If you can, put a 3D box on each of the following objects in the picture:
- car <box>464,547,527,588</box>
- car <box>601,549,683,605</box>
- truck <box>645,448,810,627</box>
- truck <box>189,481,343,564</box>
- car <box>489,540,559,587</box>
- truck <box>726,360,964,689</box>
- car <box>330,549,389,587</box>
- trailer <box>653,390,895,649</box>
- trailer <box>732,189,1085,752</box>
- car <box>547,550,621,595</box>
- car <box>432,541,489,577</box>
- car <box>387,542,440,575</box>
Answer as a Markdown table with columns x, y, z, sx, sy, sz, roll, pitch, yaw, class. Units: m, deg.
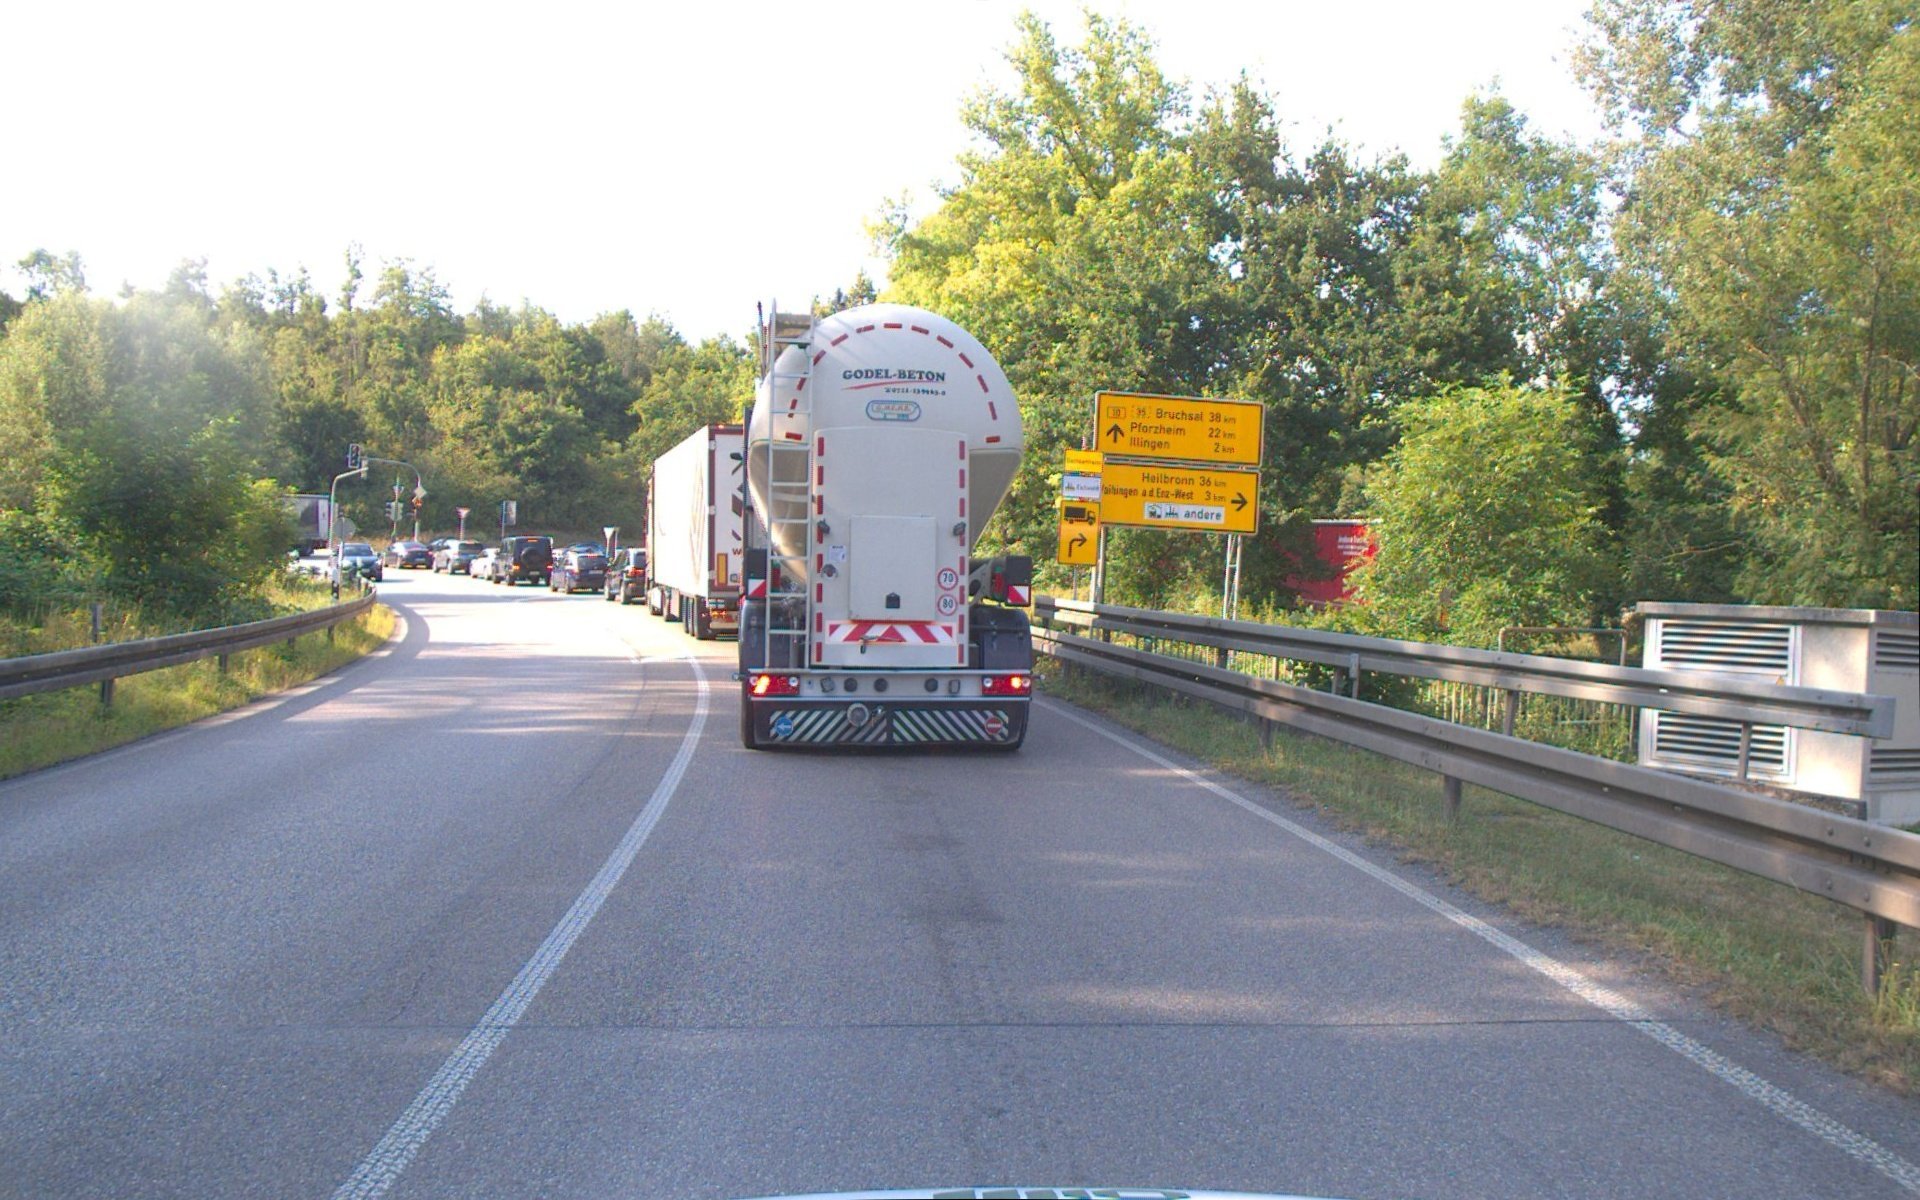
| x | y | z | sx | sy | sz | roll | pitch | yaw | class |
| --- | --- | --- | --- | --- | --- | --- | --- | --- | --- |
| -21.365 | -1.511 | 75.983 | 1.848 | 1.712 | 3.960 | 2 | 1 | -30 | car |
| -10.085 | -0.740 | 52.261 | 1.841 | 1.656 | 3.975 | 2 | 1 | -21 | car |
| -6.137 | -1.527 | 42.759 | 3.393 | 4.157 | 6.465 | 2 | 1 | -15 | truck |
| -43.360 | -4.737 | 103.800 | 2.949 | 4.664 | 10.247 | 3 | 1 | 16 | truck |
| -18.314 | -1.554 | 69.316 | 1.935 | 1.883 | 3.962 | -1 | 2 | -29 | car |
| -1.849 | -0.988 | 23.875 | 2.773 | 4.105 | 5.880 | 1 | 1 | -10 | truck |
| -26.027 | -1.395 | 71.617 | 1.846 | 1.592 | 3.964 | -1 | 2 | -28 | car |
| -4.529 | -1.555 | 36.470 | 3.486 | 4.591 | 12.936 | 2 | 1 | -14 | trailer |
| -1.014 | -1.103 | 18.308 | 2.832 | 4.531 | 9.590 | 1 | 1 | -7 | trailer |
| -13.869 | -1.027 | 60.913 | 1.845 | 1.592 | 3.967 | -1 | 2 | -26 | car |
| -24.752 | -2.042 | 81.892 | 1.848 | 1.622 | 3.961 | 3 | 1 | -30 | car |
| -29.415 | -2.246 | 88.933 | 1.849 | 1.592 | 3.959 | 2 | 1 | -31 | car |
